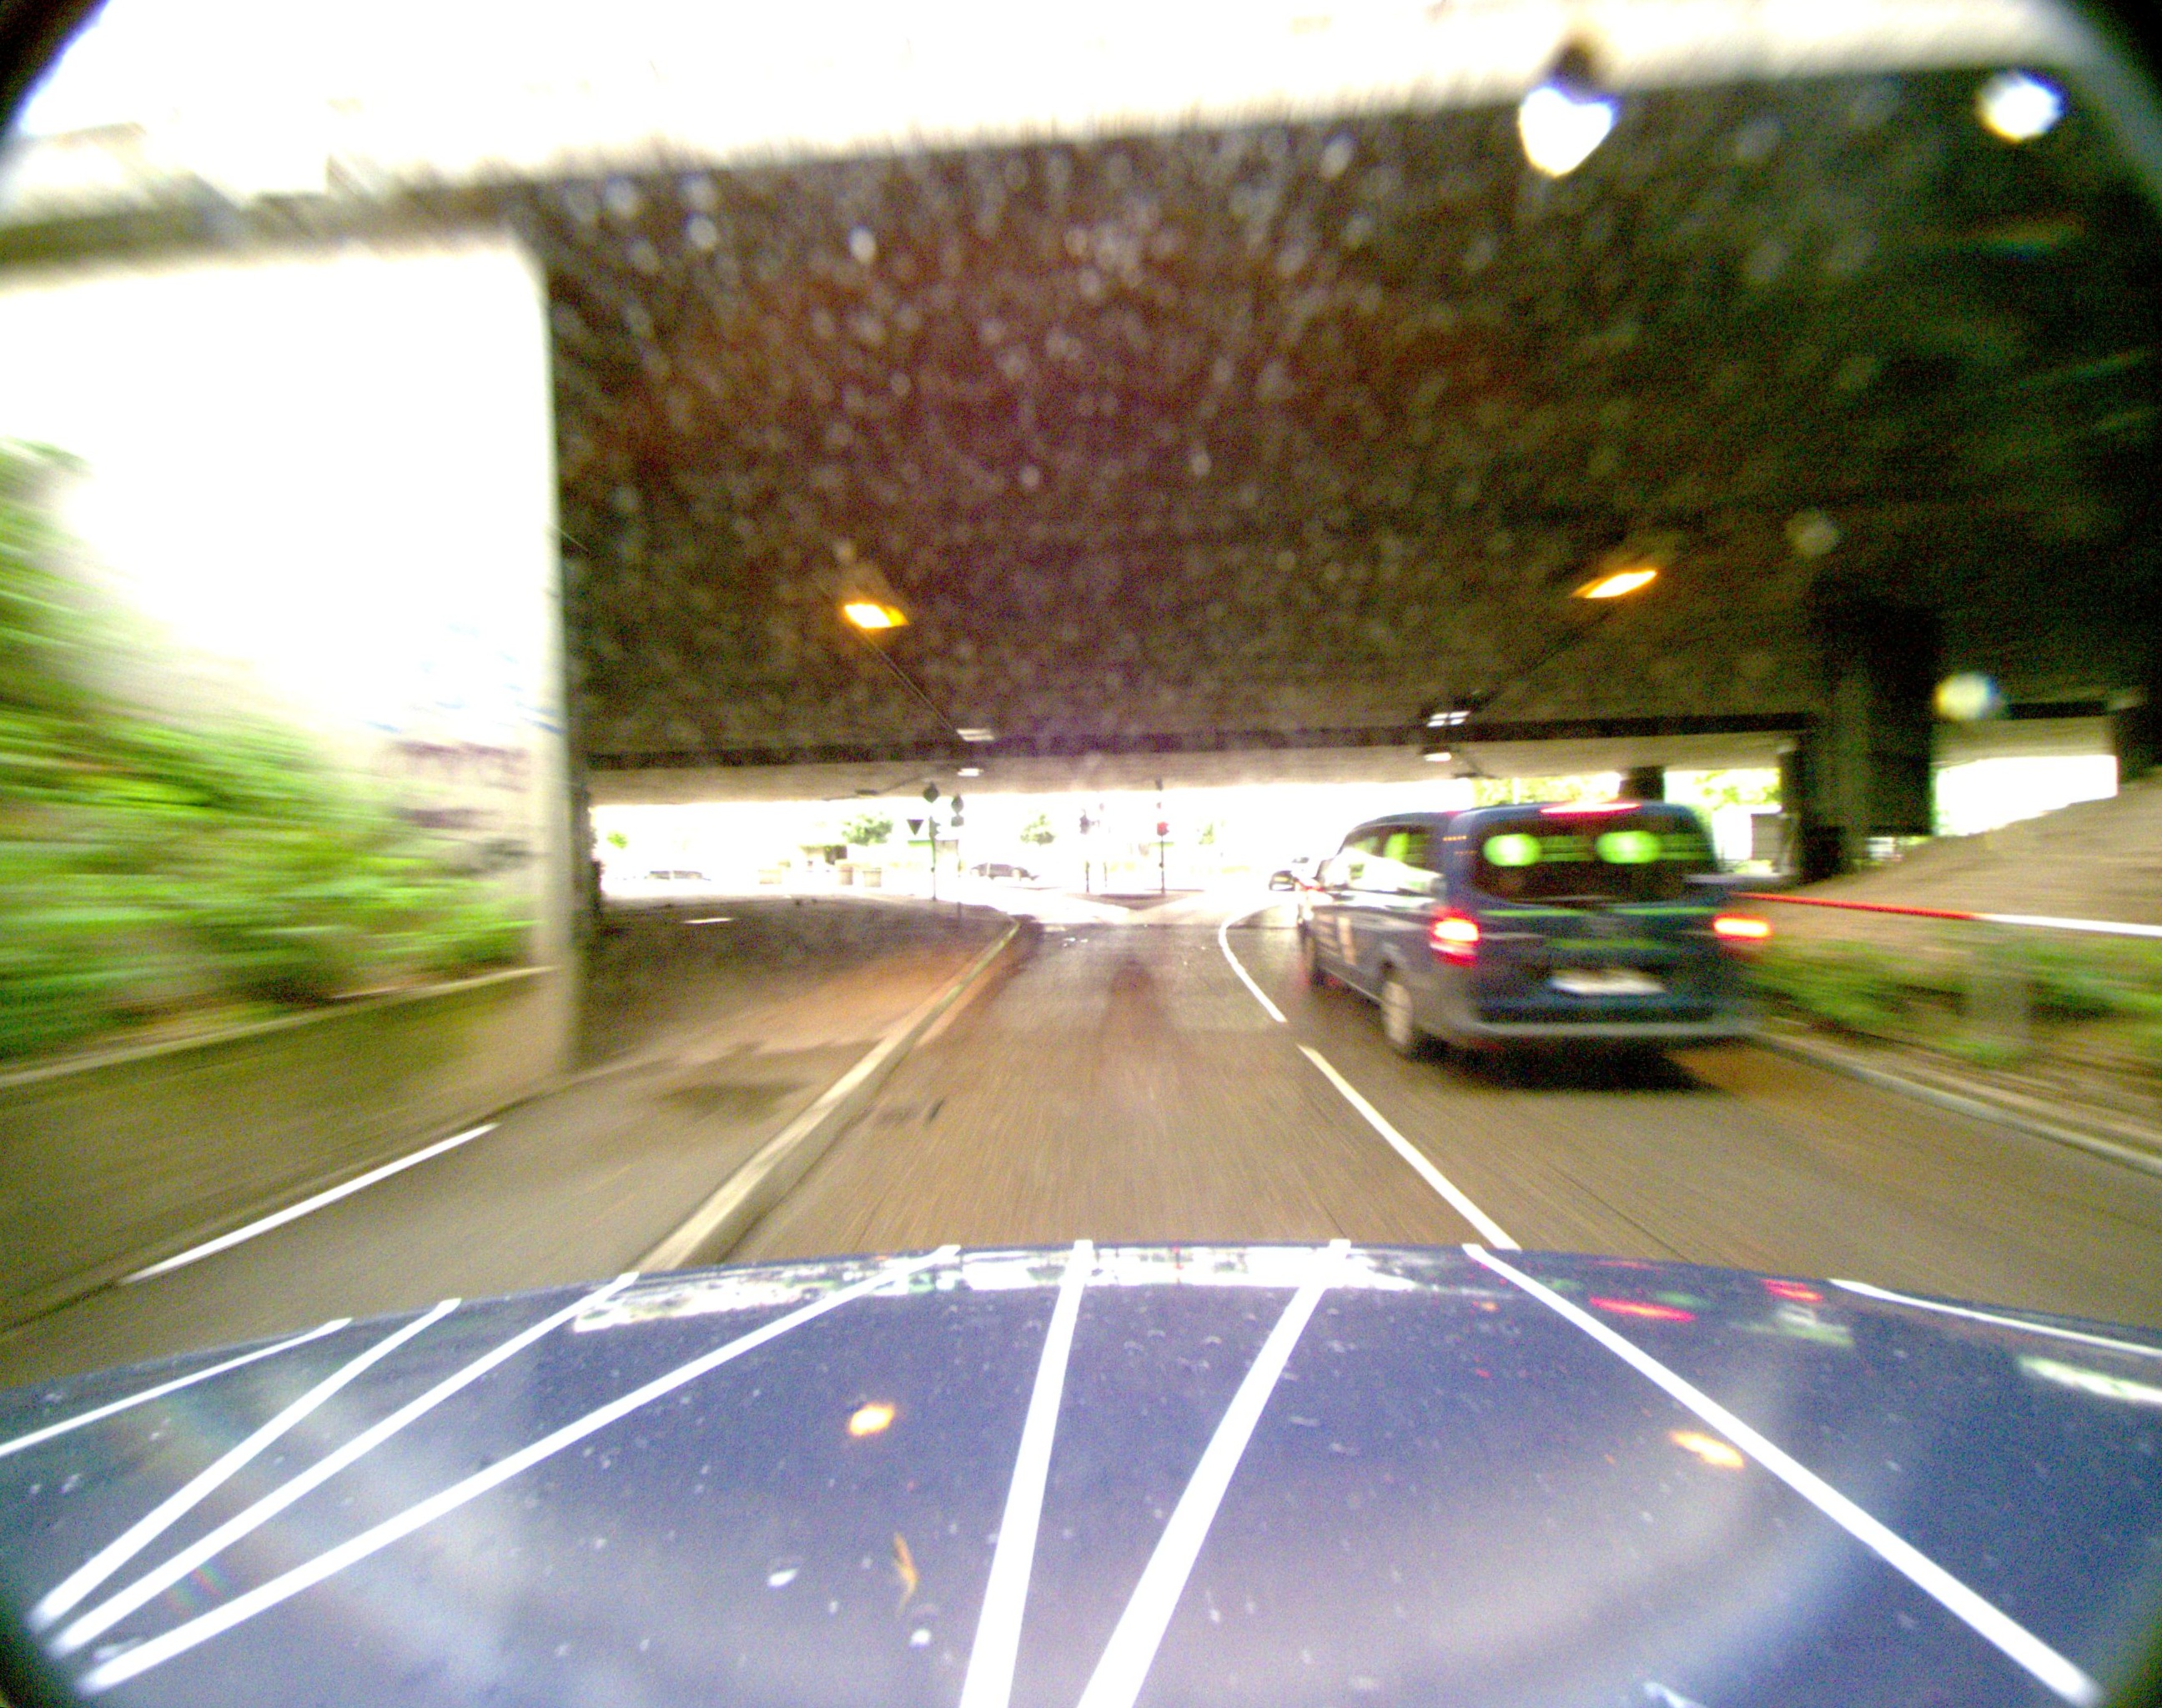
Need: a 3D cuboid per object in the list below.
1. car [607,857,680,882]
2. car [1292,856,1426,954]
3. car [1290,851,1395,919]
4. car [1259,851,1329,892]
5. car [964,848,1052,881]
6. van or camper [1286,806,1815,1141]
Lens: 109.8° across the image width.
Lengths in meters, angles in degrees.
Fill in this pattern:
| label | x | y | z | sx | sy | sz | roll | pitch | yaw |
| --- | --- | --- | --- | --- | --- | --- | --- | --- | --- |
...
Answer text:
| label | x | y | z | sx | sy | sz | roll | pitch | yaw |
| --- | --- | --- | --- | --- | --- | --- | --- | --- | --- |
| car | -27.776 | 0.998 | 48.298 | 3.626 | 1.548 | 1.645 | 0 | -1 | -3 |
| car | 4.978 | 0.819 | 14.148 | 1.996 | 1.456 | 4.109 | -1 | 1 | 15 |
| car | 6.966 | 0.753 | 19.937 | 1.995 | 1.521 | 4.508 | -3 | -1 | 26 |
| car | 8.776 | 0.720 | 31.110 | 1.704 | 1.548 | 4.009 | -1 | -1 | 32 |
| car | -3.855 | 0.532 | 39.921 | 4.224 | 1.571 | 1.772 | 0 | 3 | 22 |
| van or camper | 3.307 | 0.637 | 6.847 | 1.998 | 1.857 | 5.140 | -1 | 1 | 6 |
